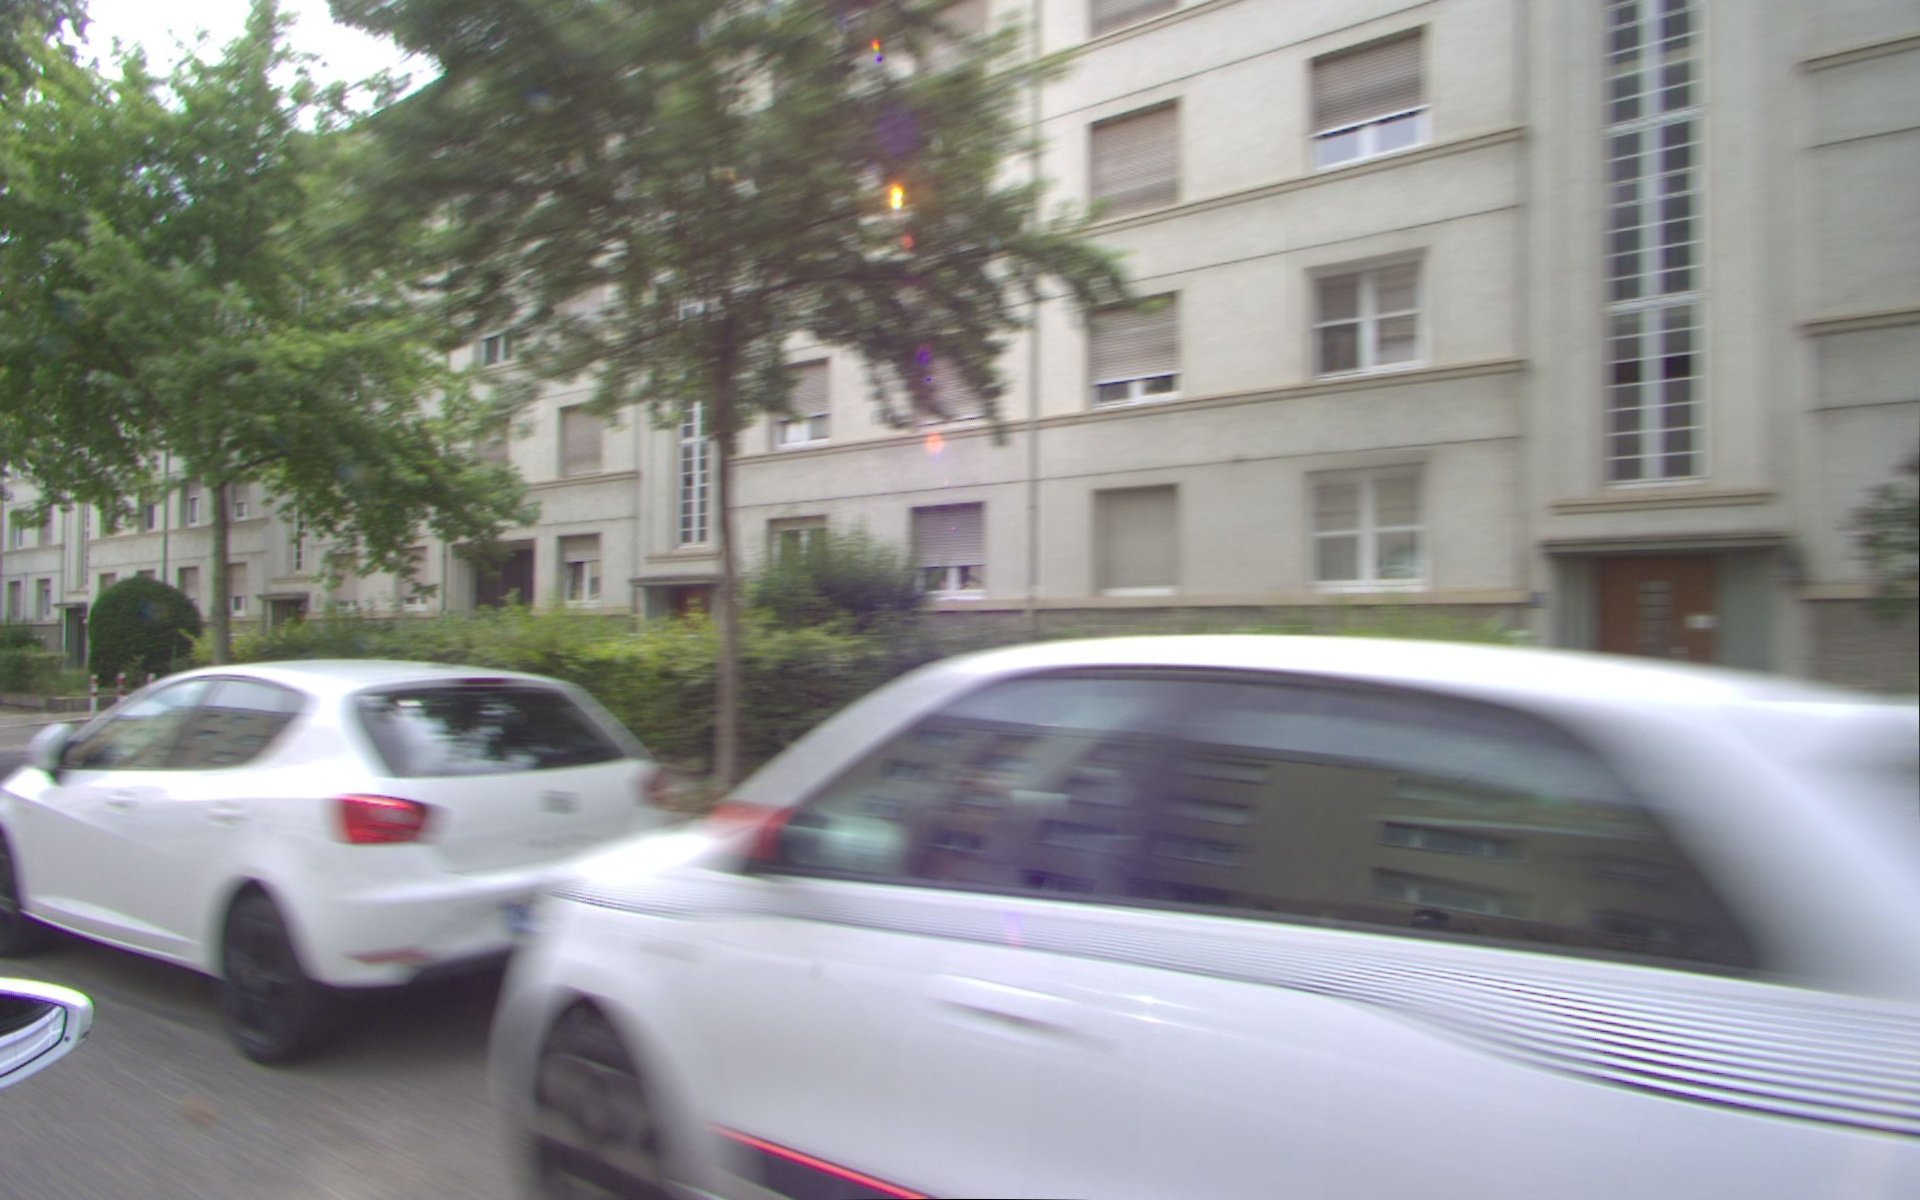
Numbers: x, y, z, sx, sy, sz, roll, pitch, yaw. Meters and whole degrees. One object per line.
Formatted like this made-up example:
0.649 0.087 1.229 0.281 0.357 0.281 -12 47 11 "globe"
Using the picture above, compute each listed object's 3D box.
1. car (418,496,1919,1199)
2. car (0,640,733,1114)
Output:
0.576 0.780 2.311 3.752 1.627 1.602 -1 -4 34 "car"
-3.217 0.950 4.926 4.041 1.468 1.696 -1 -3 31 "car"
